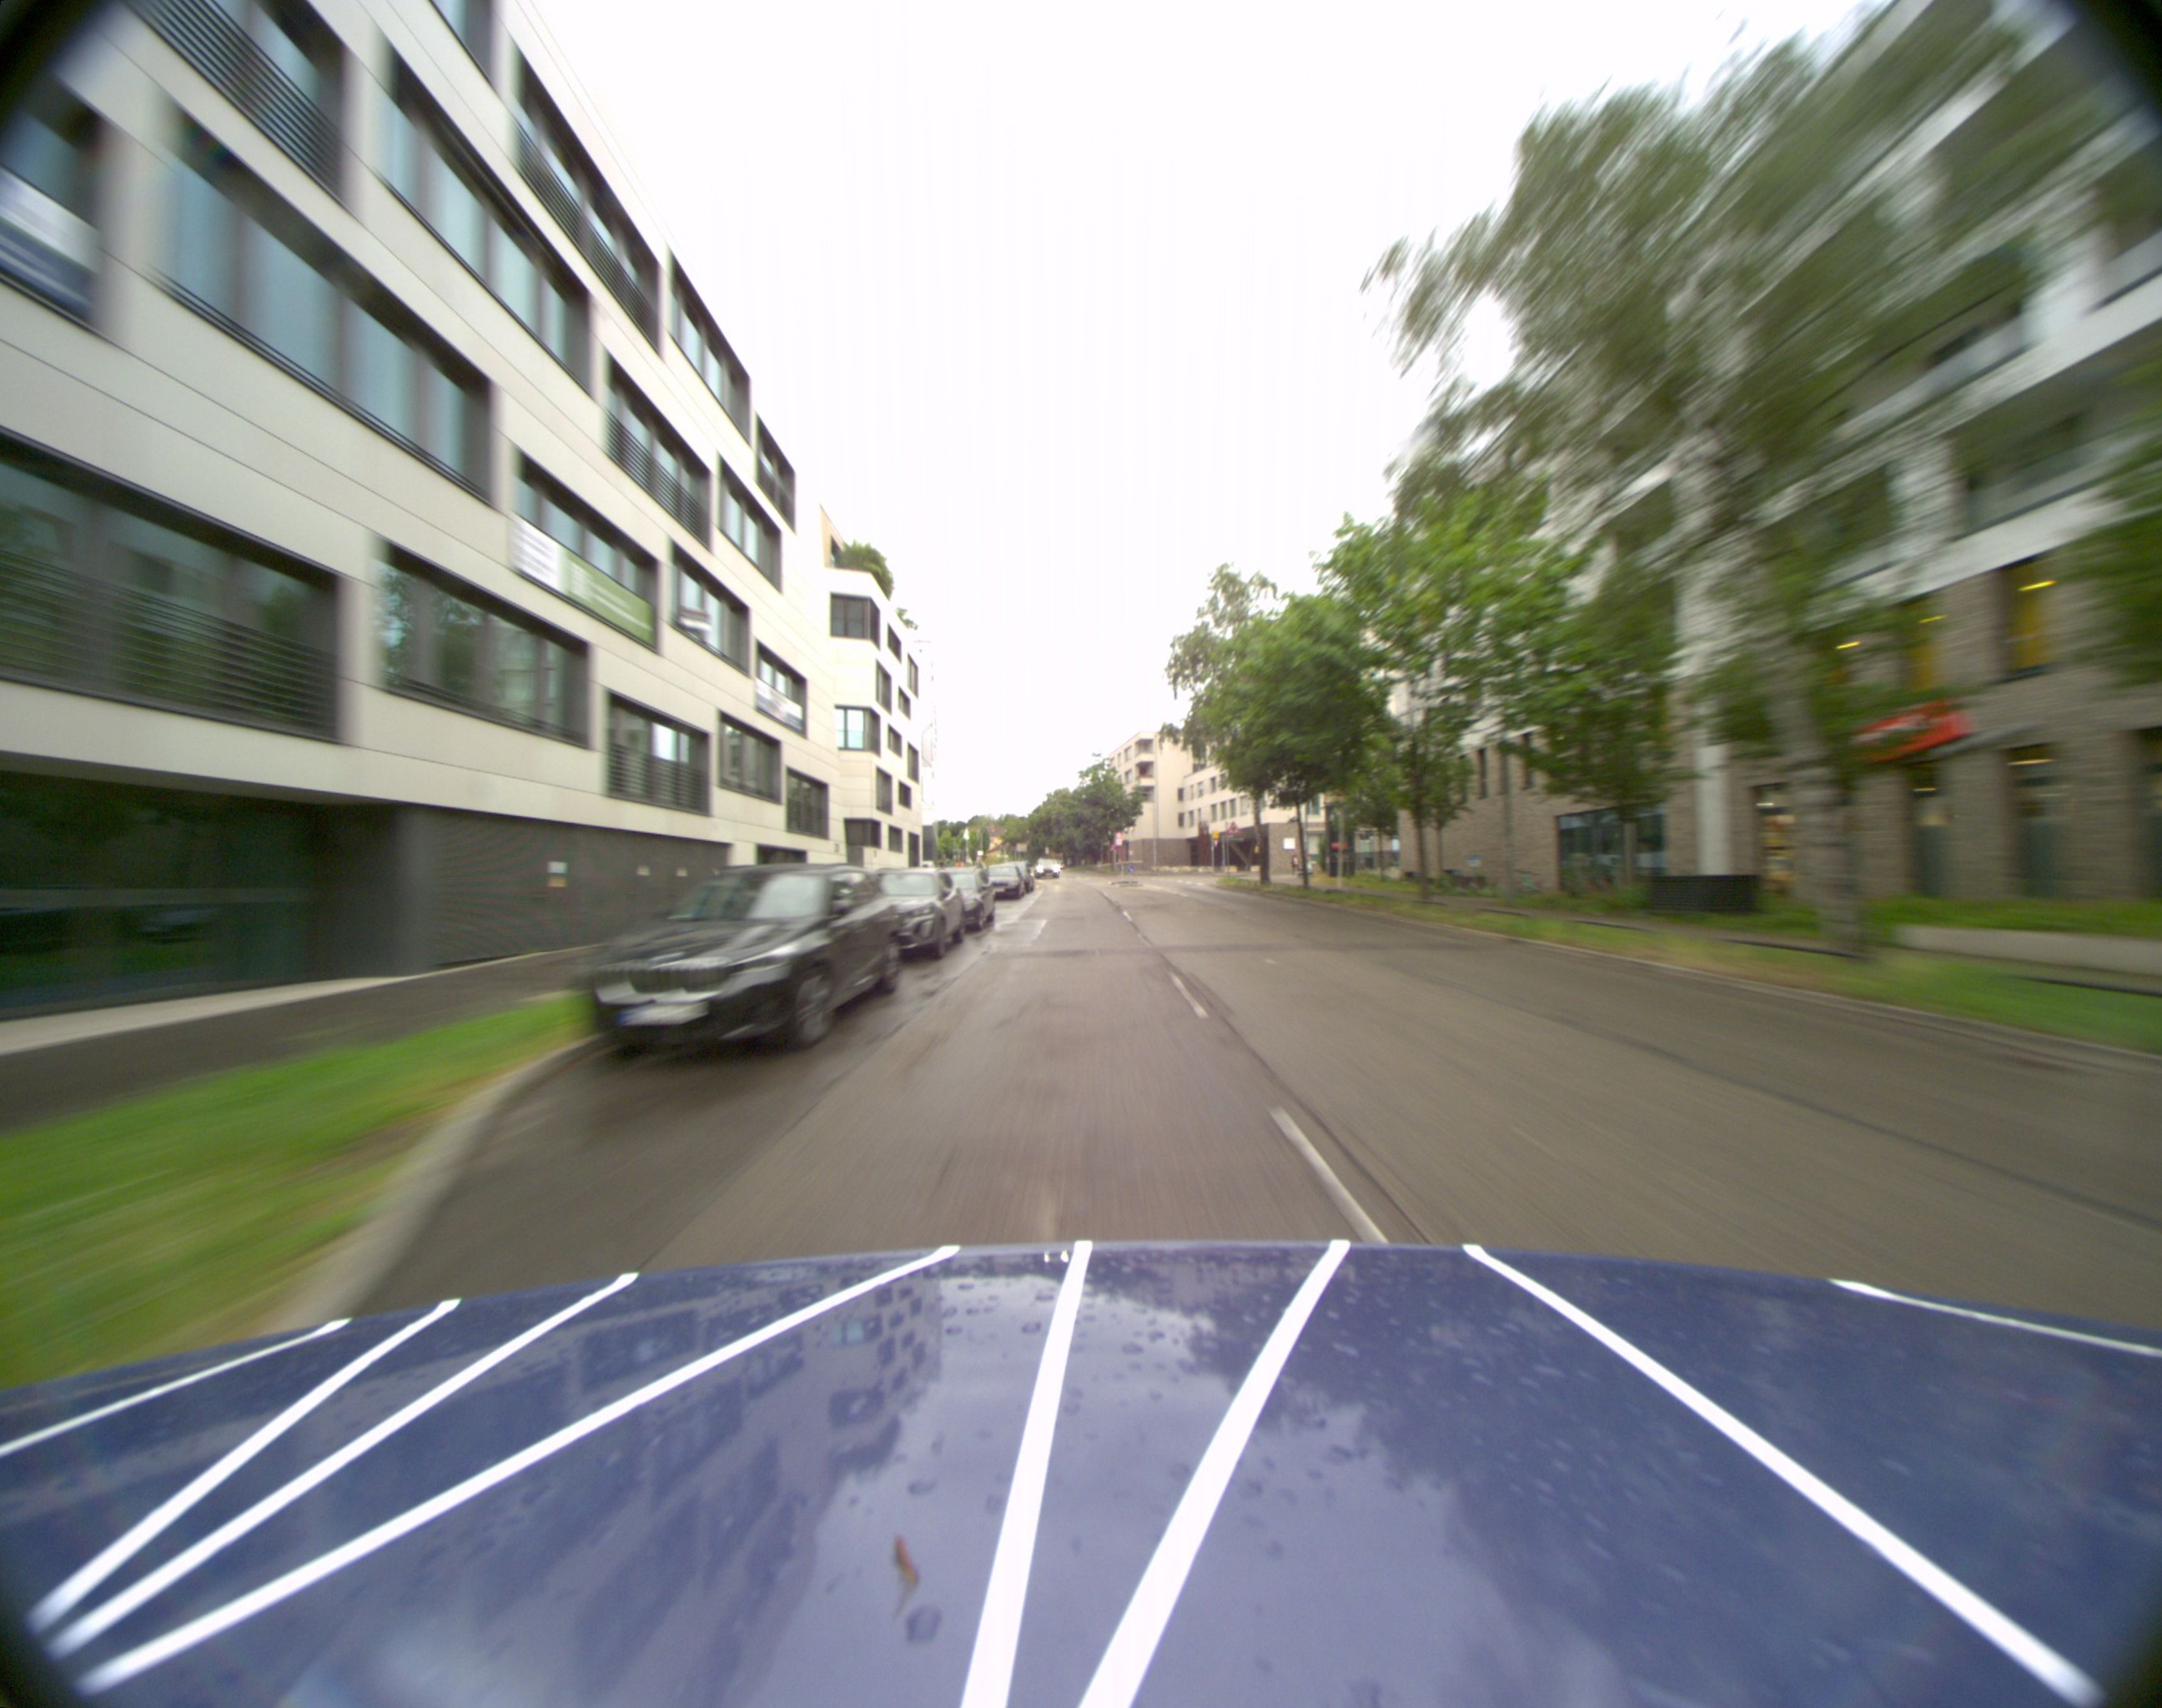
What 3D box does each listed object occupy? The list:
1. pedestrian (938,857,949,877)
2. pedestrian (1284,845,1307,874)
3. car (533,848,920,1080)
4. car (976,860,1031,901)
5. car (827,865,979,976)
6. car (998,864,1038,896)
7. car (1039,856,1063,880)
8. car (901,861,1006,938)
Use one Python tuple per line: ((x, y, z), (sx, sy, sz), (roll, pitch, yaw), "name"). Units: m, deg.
((-12.434, 1.144, 68.595), (0.825, 1.785, 1.207), (-1, 1, -6), "pedestrian")
((15.682, 0.397, 55.536), (1.060, 2.002, 1.097), (-3, 2, -30), "pedestrian")
((-3.143, 0.840, 8.021), (1.812, 1.669, 4.712), (-2, 0, 0), "car")
((-3.229, 1.074, 32.494), (1.812, 1.476, 4.494), (-2, 1, 0), "car")
((-3.114, 1.086, 14.232), (1.753, 1.596, 4.373), (-2, 1, 0), "car")
((-3.076, 1.244, 37.787), (1.550, 1.470, 3.661), (-2, 0, 1), "car")
((-2.730, 1.240, 68.474), (1.848, 1.961, 4.341), (-2, 1, -5), "car")
((-3.094, 1.042, 19.456), (1.812, 1.554, 4.845), (-2, 1, 0), "car")
